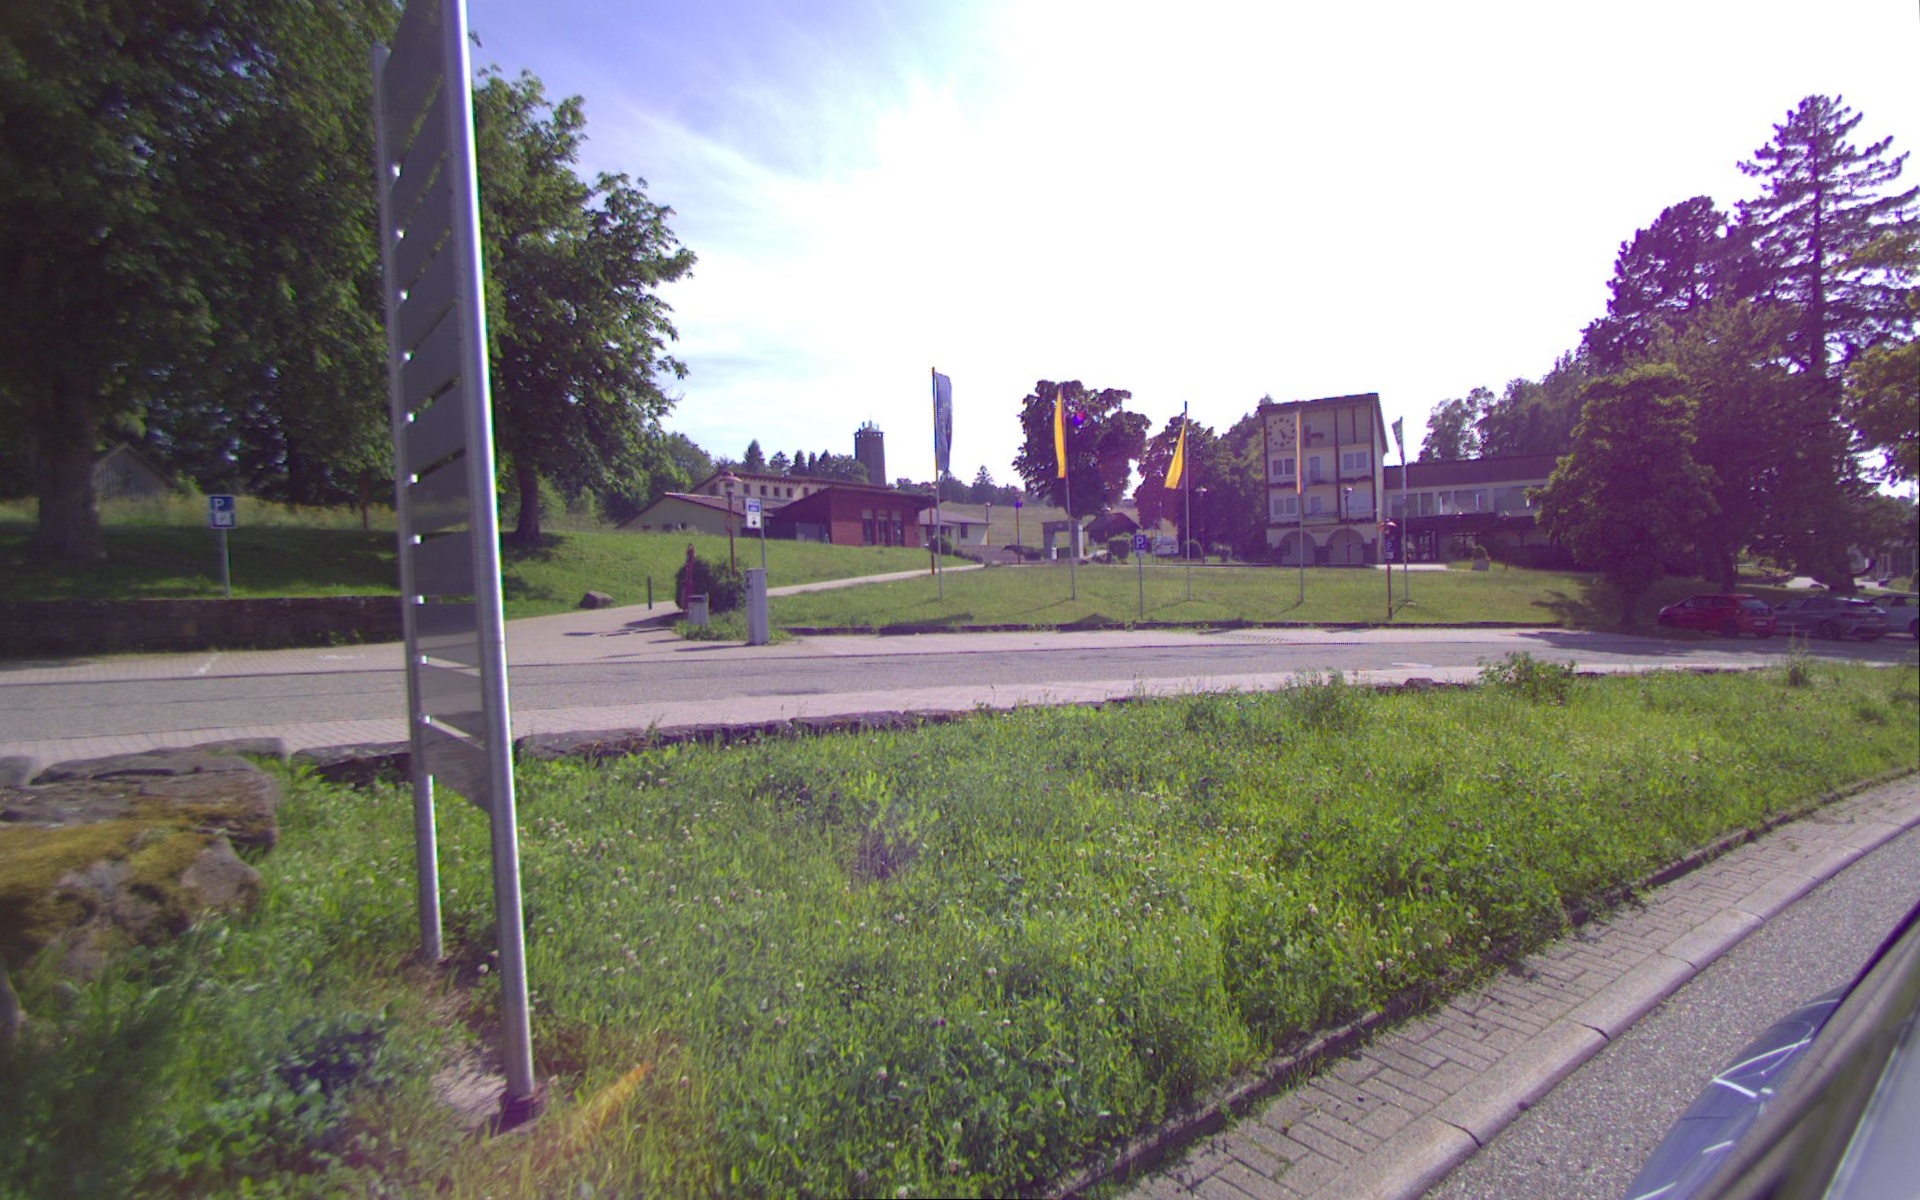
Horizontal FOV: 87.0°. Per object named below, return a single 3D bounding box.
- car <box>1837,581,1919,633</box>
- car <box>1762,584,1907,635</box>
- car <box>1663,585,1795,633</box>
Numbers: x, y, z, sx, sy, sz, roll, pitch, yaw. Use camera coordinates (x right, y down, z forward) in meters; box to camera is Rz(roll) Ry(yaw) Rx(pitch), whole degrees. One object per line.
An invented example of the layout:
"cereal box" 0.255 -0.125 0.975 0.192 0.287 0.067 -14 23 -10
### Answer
"car" 33.982 0.293 35.874 1.960 1.637 4.008 2 4 -6
"car" 30.037 0.292 34.903 1.651 1.444 3.546 2 4 -6
"car" 26.528 0.272 35.040 1.679 1.420 3.321 0 4 -10
